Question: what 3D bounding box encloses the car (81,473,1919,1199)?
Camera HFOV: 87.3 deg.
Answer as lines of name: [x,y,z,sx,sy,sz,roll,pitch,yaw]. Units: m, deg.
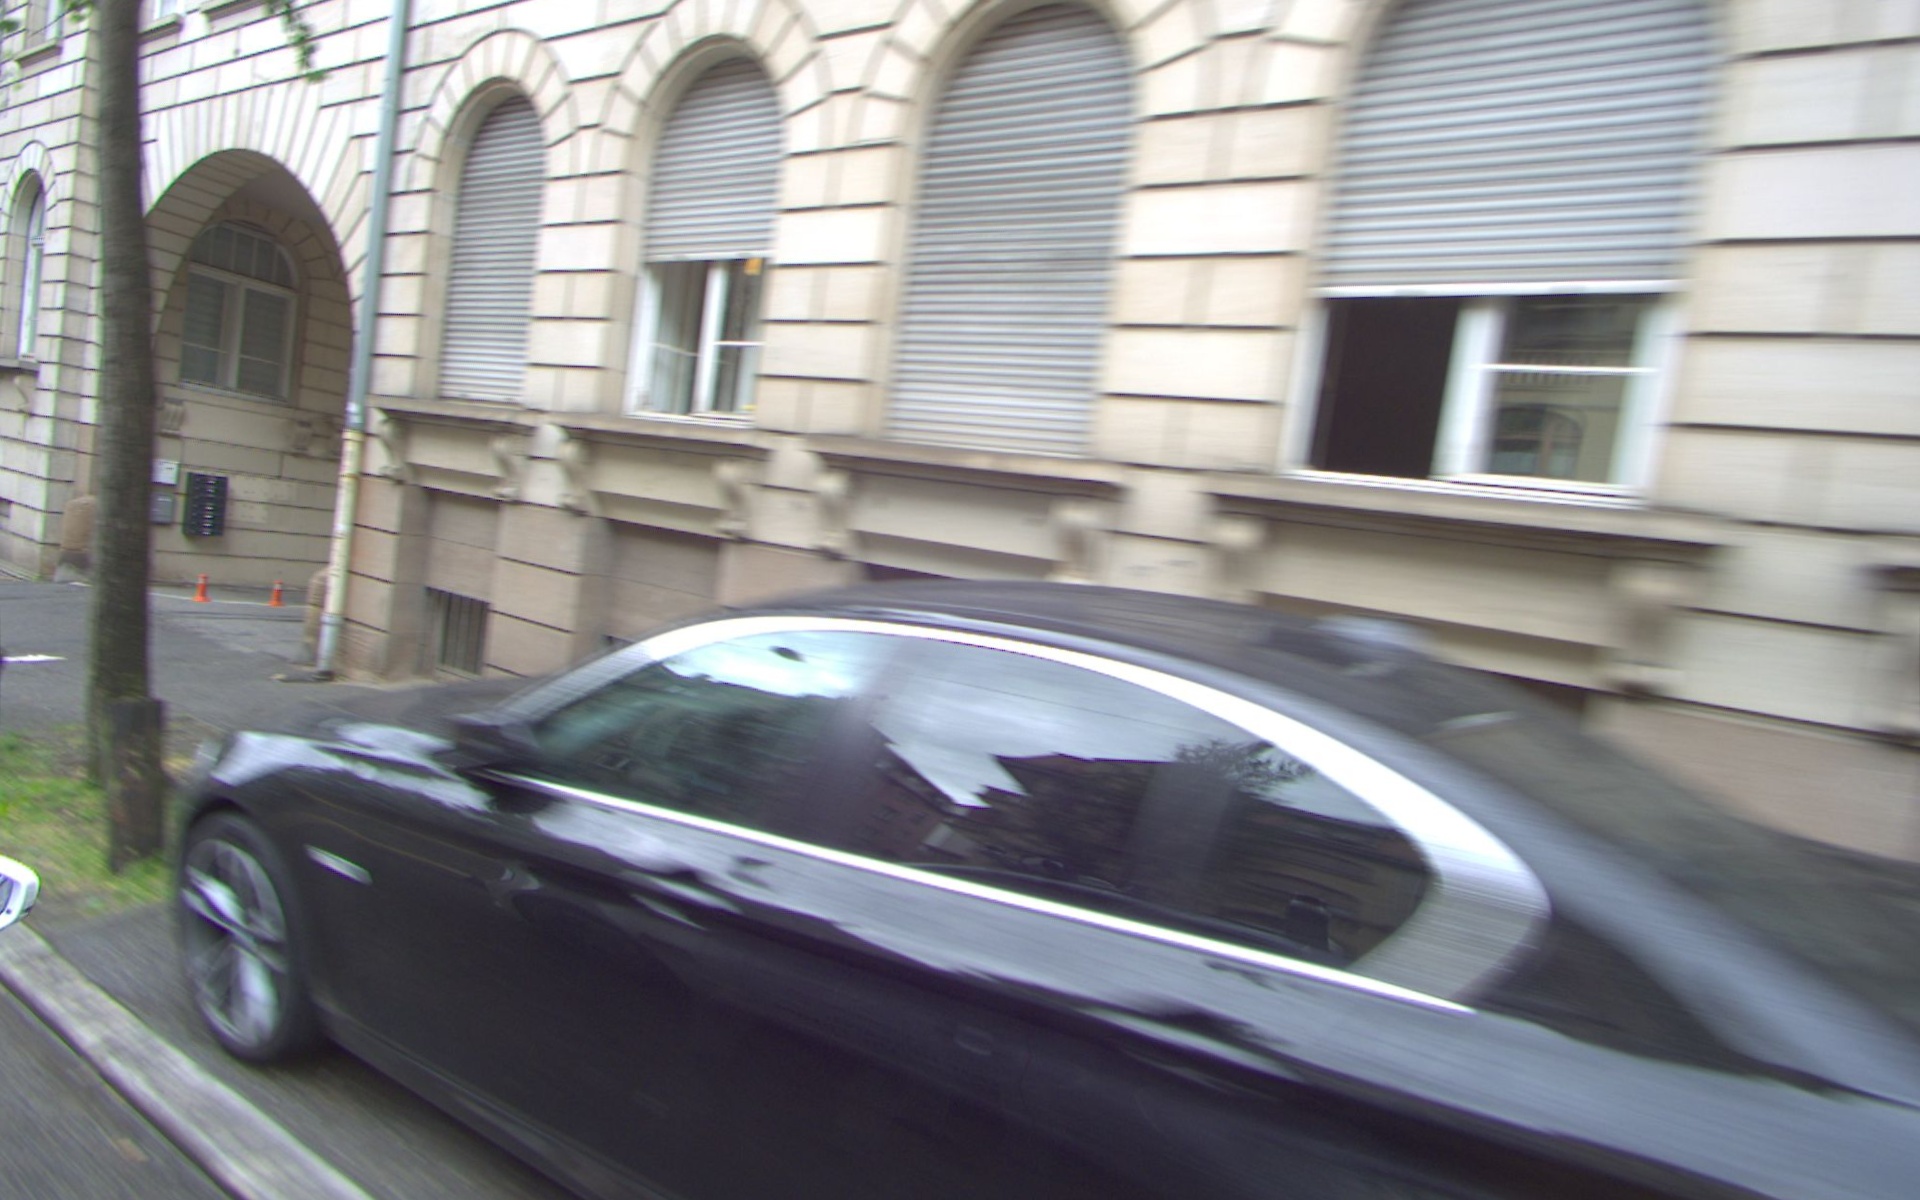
car: [-0.191,0.623,2.581,4.644,1.482,1.757,8,4,31]
